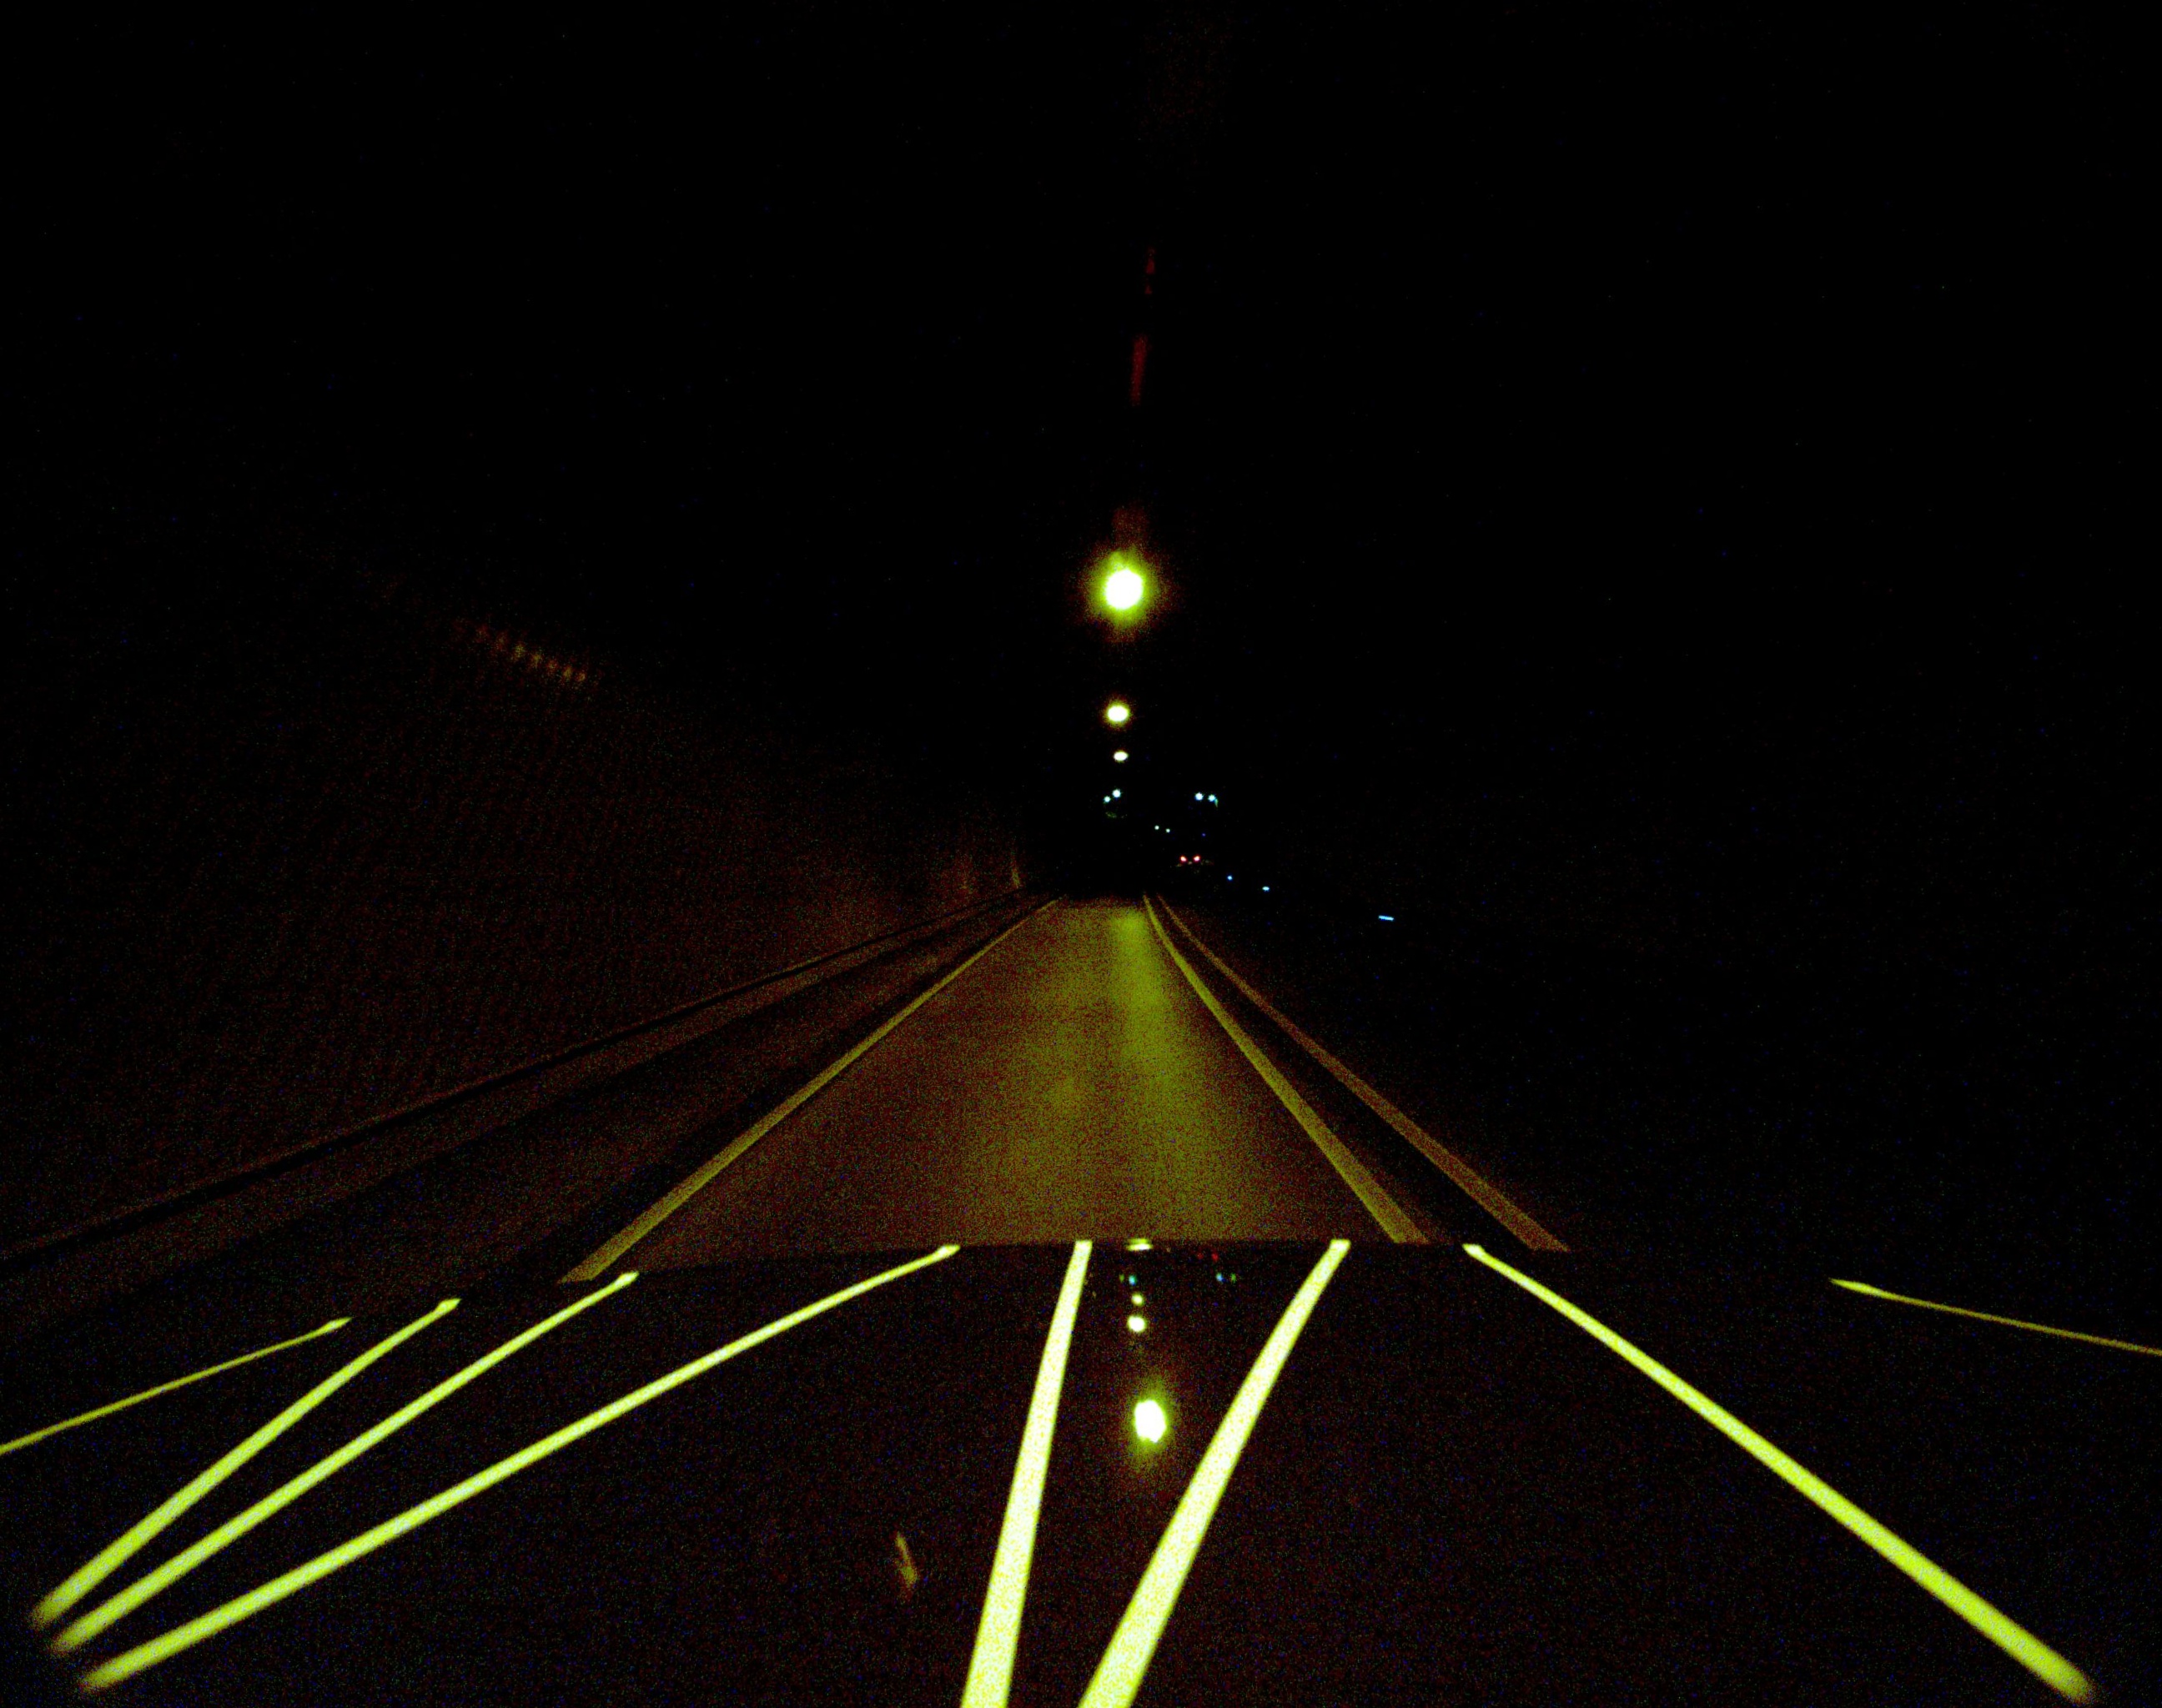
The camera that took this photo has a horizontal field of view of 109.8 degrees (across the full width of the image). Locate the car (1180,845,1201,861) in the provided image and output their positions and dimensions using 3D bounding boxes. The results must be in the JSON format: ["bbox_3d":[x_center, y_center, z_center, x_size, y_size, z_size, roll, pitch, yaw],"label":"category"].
[{"bbox_3d":[10.580,-0.099,73.262,1.719,1.434,4.396,-3,0,11],"label":"car"}]
